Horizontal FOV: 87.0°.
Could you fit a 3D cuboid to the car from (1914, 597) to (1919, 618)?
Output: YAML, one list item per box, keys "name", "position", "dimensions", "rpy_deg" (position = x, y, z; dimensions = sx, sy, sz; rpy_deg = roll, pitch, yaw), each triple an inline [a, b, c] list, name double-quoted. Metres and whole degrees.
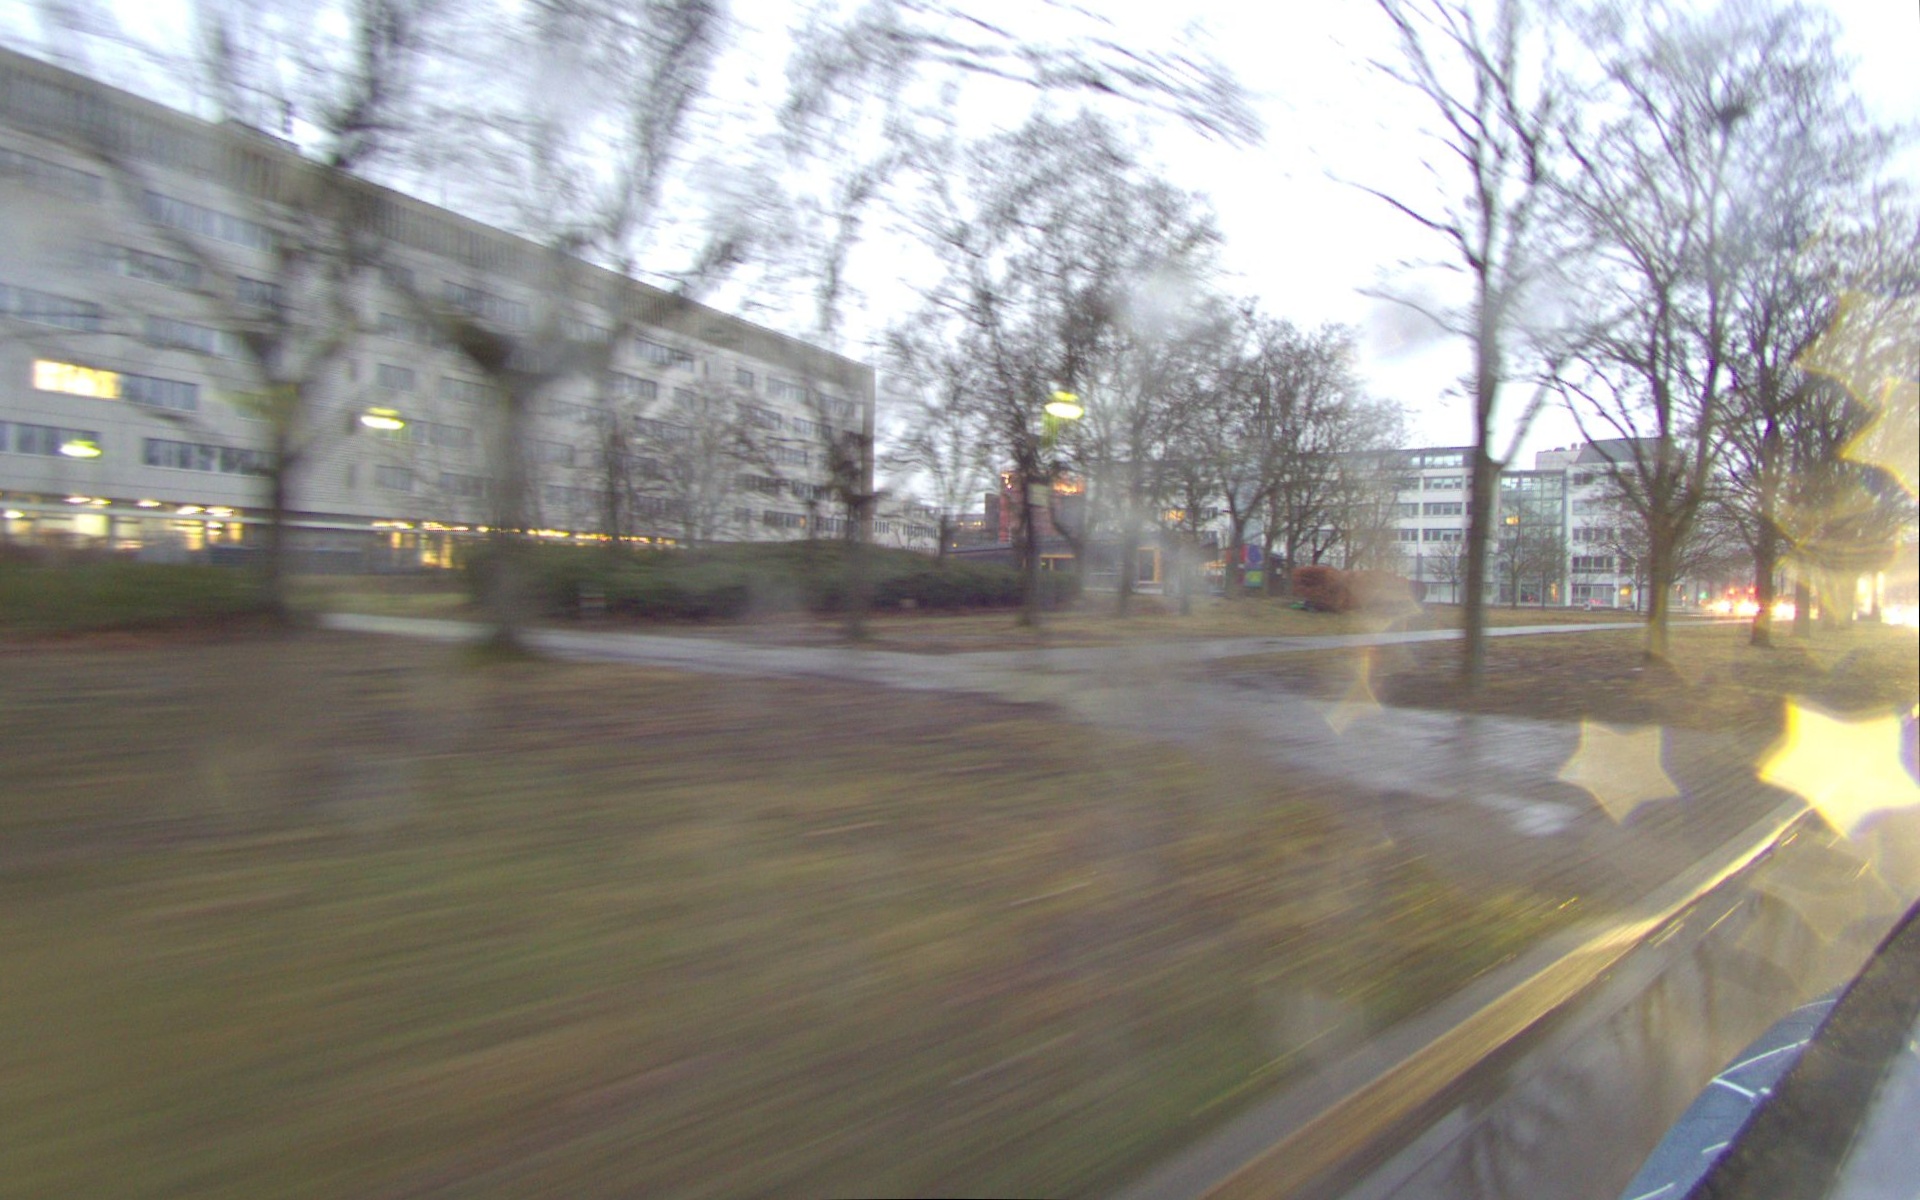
- name: "car"
  position: [73.388, 0.551, 76.118]
  dimensions: [1.940, 1.575, 4.159]
  rpy_deg: [-1, 0, 38]

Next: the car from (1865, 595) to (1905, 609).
- name: "car"
  position: [90.060, 0.182, 98.540]
  dimensions: [1.982, 1.340, 3.959]
  rpy_deg: [0, 0, 29]
